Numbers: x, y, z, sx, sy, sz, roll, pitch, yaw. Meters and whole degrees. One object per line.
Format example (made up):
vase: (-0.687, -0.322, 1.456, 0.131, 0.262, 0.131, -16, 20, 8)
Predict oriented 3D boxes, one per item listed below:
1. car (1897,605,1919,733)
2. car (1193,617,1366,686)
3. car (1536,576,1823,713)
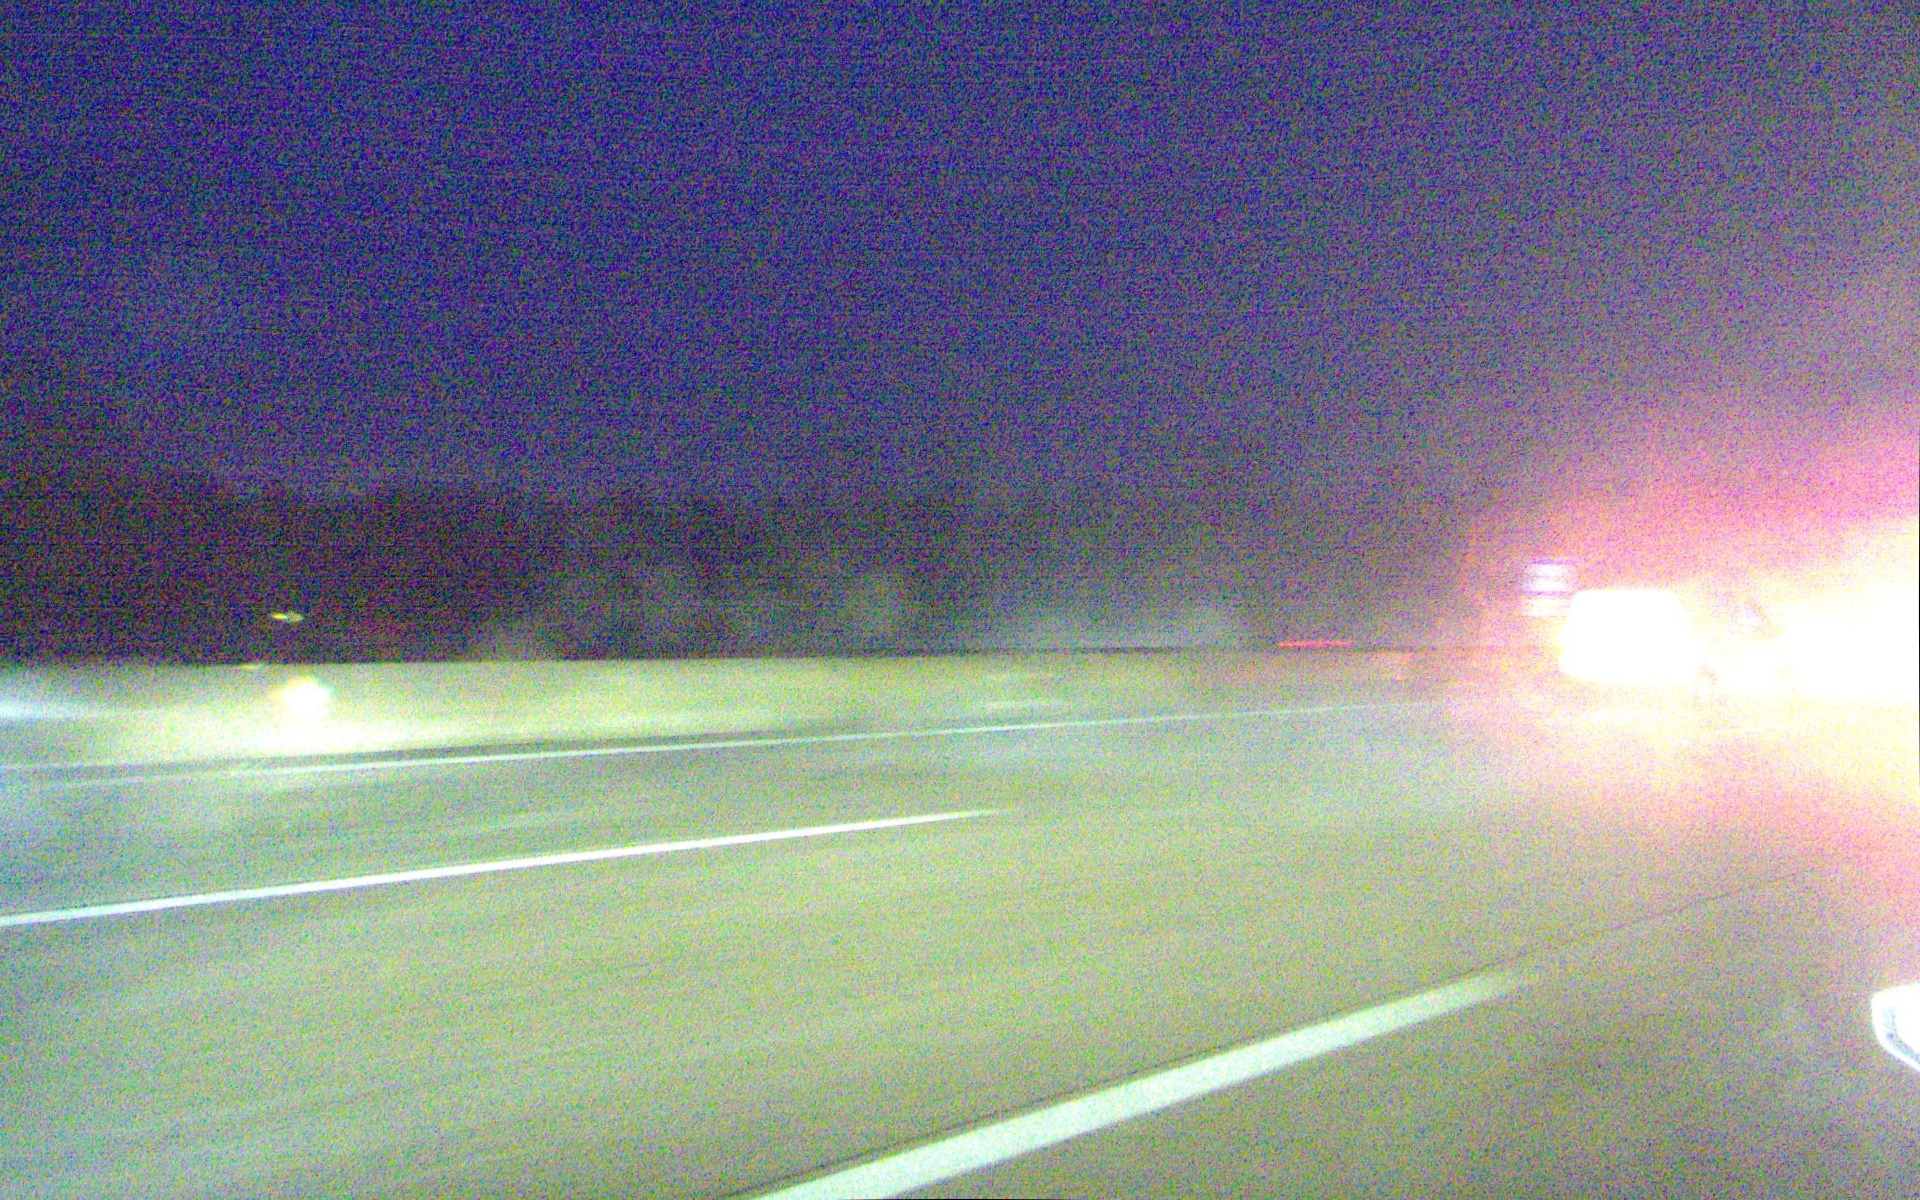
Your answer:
car: (14.895, 0.954, 14.038, 3.957, 1.712, 1.755, 1, 0, -33)
car: (8.041, 1.269, 25.168, 4.301, 1.538, 1.796, 2, 0, -32)
car: (12.935, 0.736, 17.951, 5.564, 2.132, 2.112, 1, 0, -31)
